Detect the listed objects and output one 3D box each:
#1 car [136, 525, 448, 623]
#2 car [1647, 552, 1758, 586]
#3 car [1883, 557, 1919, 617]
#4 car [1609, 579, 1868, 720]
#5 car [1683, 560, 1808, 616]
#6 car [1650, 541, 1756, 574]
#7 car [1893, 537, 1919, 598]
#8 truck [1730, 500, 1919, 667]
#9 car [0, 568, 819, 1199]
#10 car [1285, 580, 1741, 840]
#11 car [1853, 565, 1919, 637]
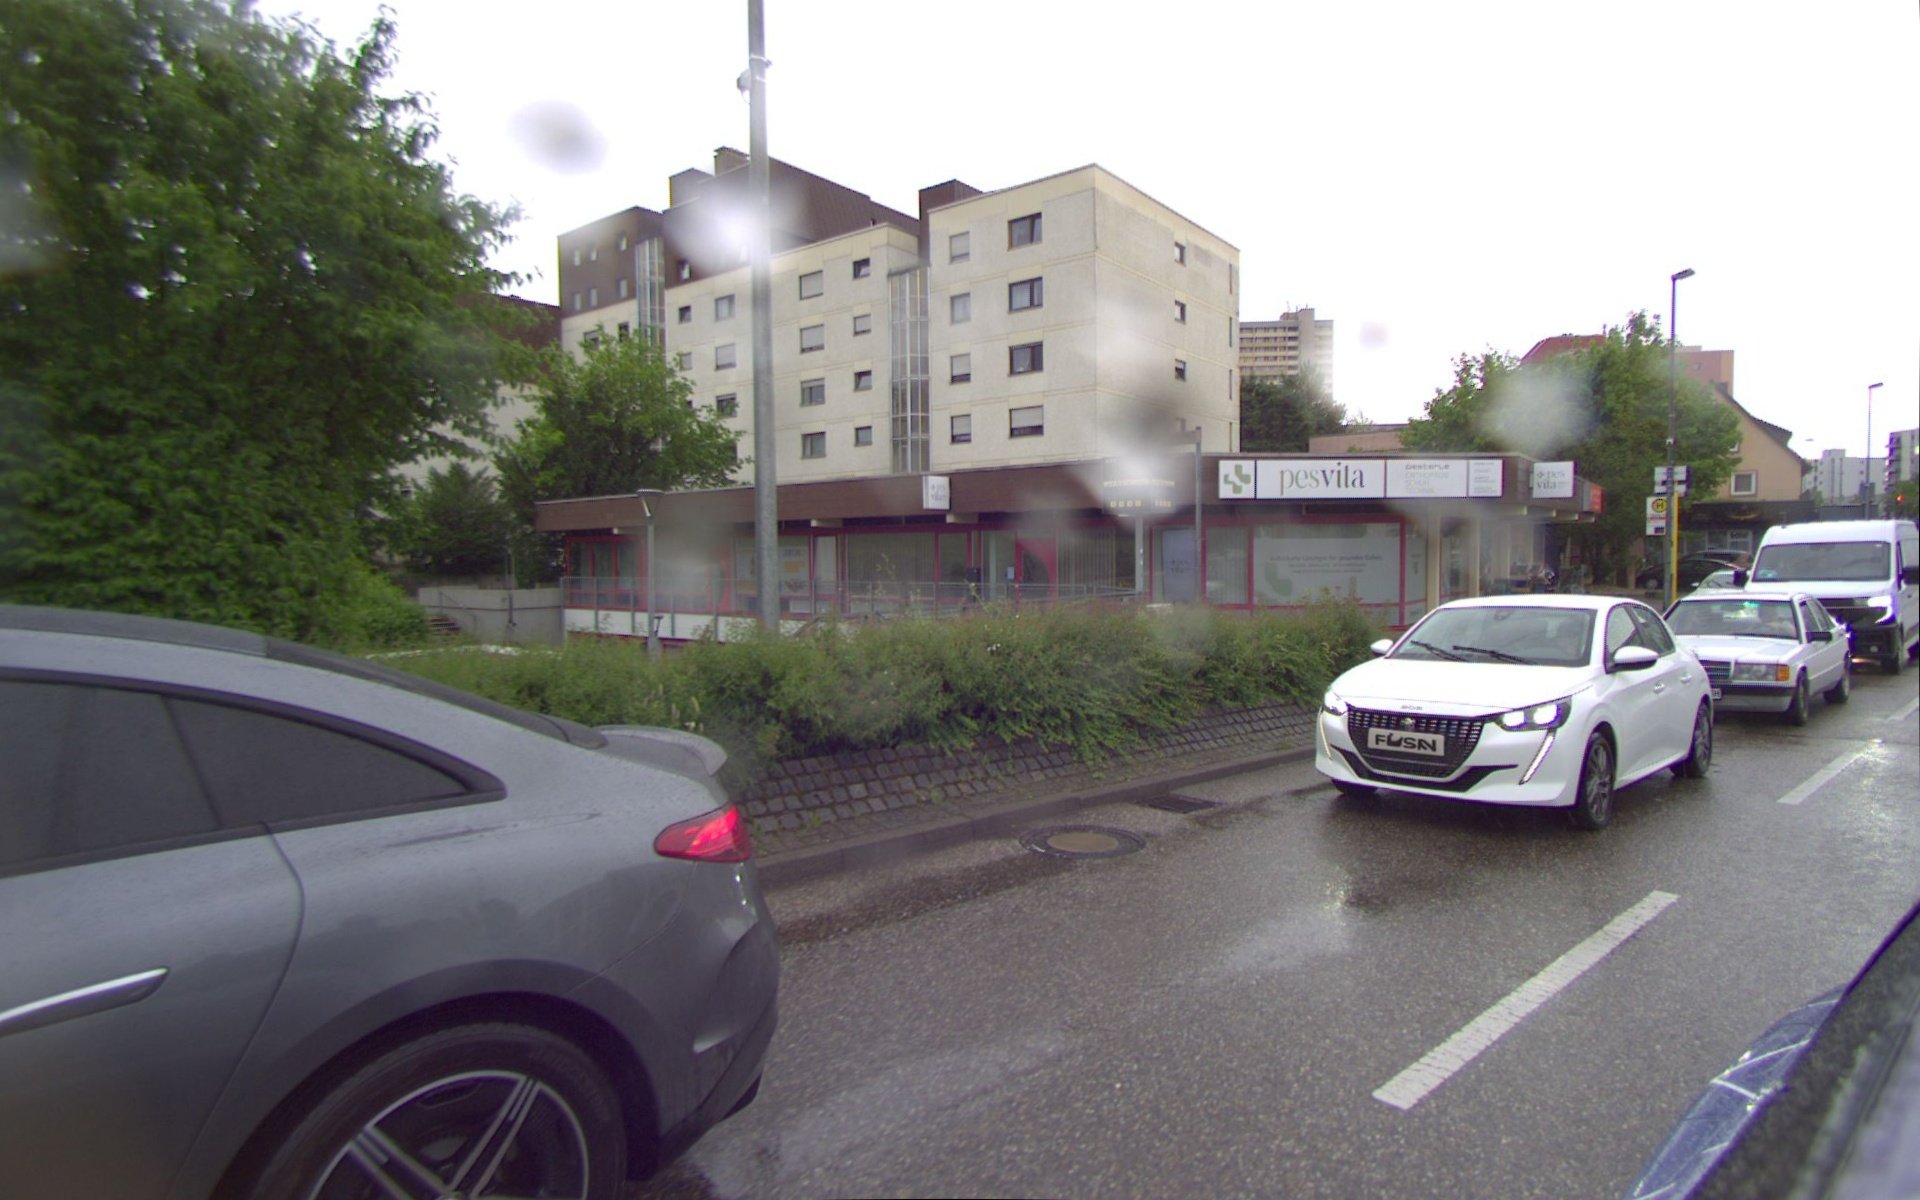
[{"bbox_3d":[-18.013,-0.768,27.812,2.774,2.299,6.700,3,3,29],"label":"car"},{"bbox_3d":[34.023,-1.399,46.406,3.981,1.438,1.972,0,1,40],"label":"car"},{"bbox_3d":[26.745,-0.333,27.660,3.933,1.571,1.995,0,1,-44],"label":"car"},{"bbox_3d":[9.244,0.468,11.925,3.670,1.394,1.716,-1,0,-41],"label":"car"},{"bbox_3d":[21.773,-0.362,28.003,3.737,1.367,1.998,-1,4,-41],"label":"car"},{"bbox_3d":[35.375,-2.012,48.223,3.981,1.438,1.679,0,1,40],"label":"car"},{"bbox_3d":[33.725,-1.093,34.733,3.930,2.038,1.998,-1,4,-40],"label":"car"},{"bbox_3d":[15.647,-0.317,17.797,6.092,2.470,2.167,-1,2,-41],"label":"truck"},{"bbox_3d":[-2.611,0.700,1.588,4.472,1.462,1.834,-1,0,-41],"label":"car"},{"bbox_3d":[4.271,0.586,7.556,3.966,1.415,1.716,-1,0,-41],"label":"car"},{"bbox_3d":[21.830,-0.012,23.079,3.613,1.505,1.641,-1,-3,-41],"label":"car"}]
